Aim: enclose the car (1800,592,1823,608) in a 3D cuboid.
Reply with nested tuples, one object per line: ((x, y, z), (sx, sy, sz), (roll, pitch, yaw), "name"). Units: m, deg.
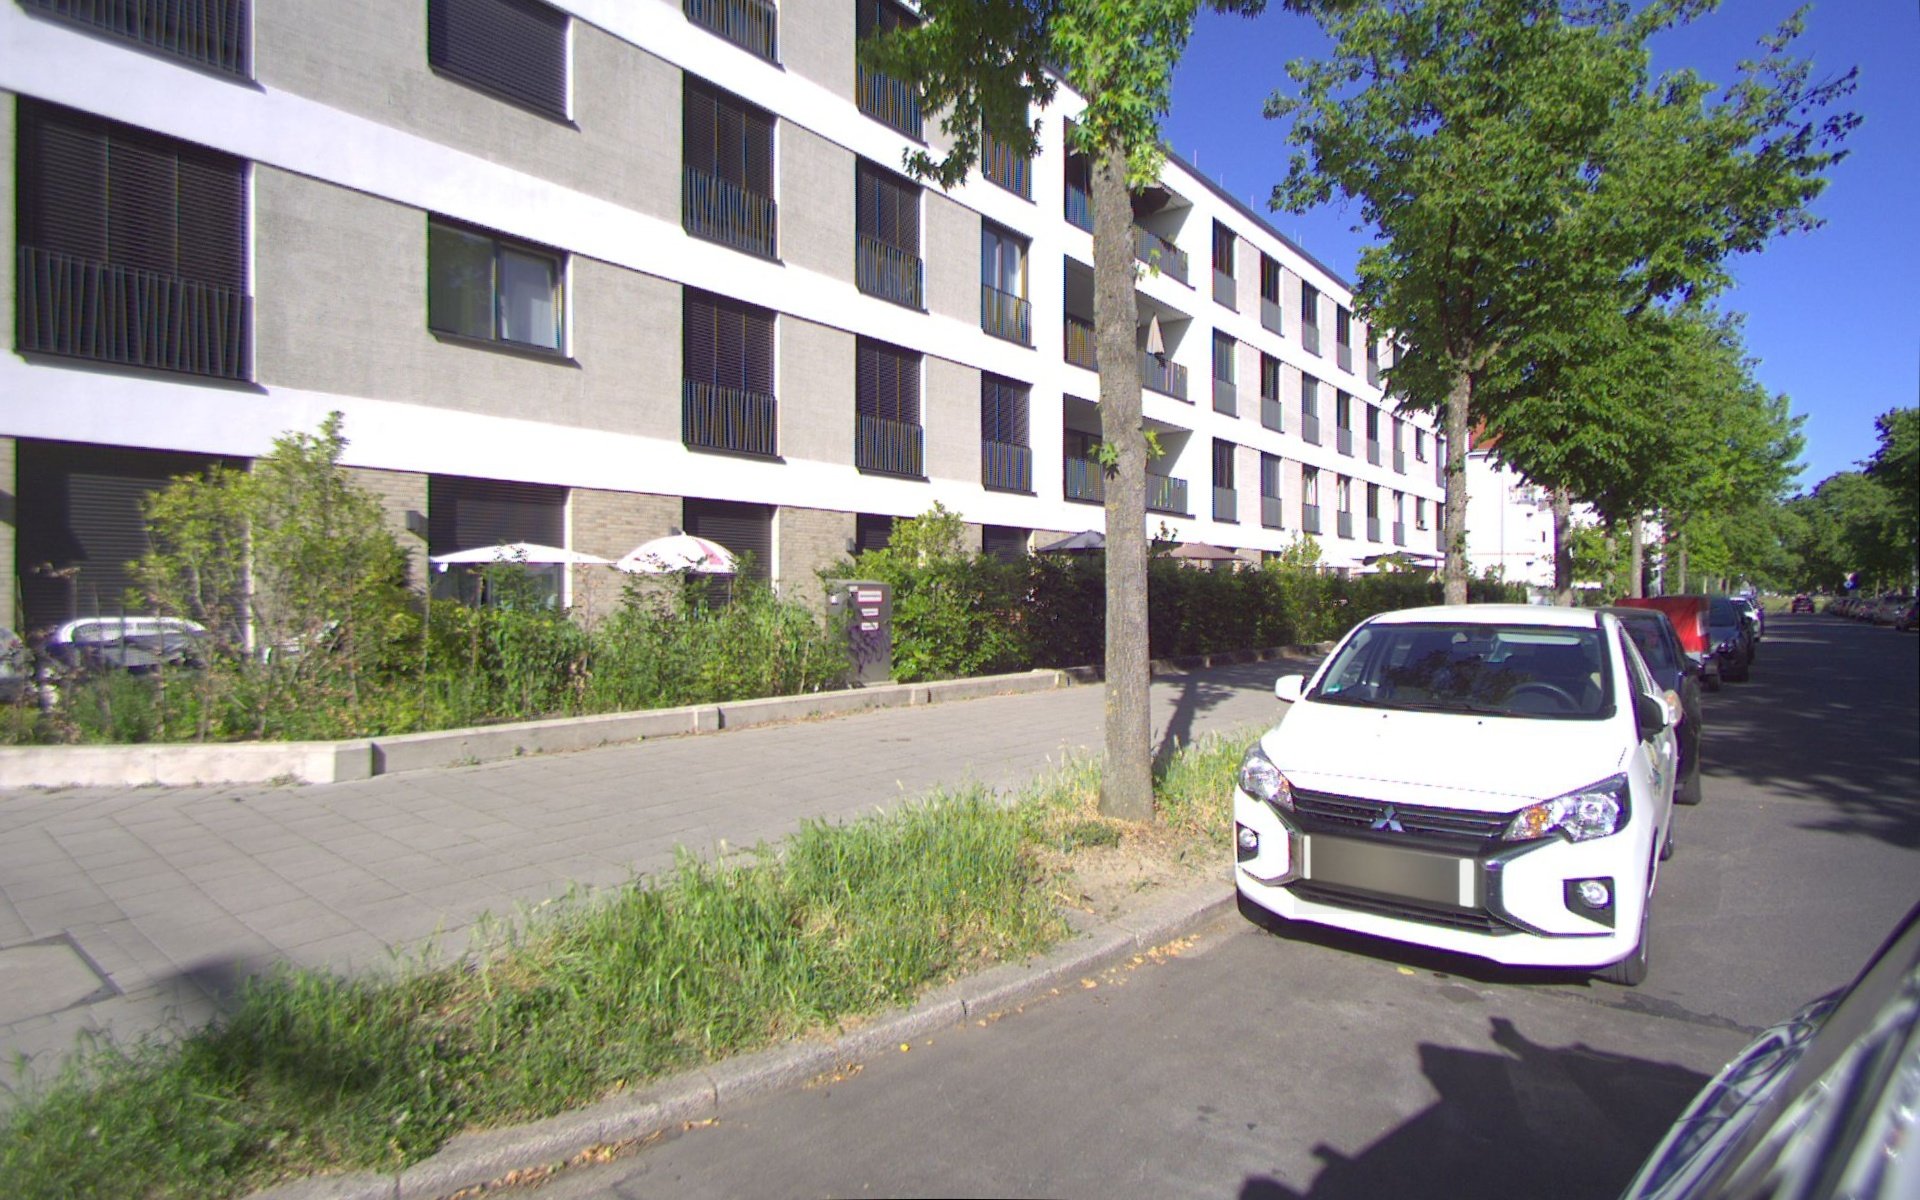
((81.603, -0.060, 96.979), (1.659, 1.483, 3.397), (1, 1, 40), "car")

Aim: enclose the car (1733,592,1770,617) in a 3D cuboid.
((48.067, 0.238, 61.448), (1.664, 1.483, 3.484), (1, 1, 40), "car")

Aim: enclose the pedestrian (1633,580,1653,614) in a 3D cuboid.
((40.834, -0.190, 60.478), (0.904, 2.039, 0.991), (1, 1, 40), "pedestrian")

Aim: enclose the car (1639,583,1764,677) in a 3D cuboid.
((15.063, 0.548, 20.463), (1.788, 1.664, 4.752), (-3, -1, 38), "car")

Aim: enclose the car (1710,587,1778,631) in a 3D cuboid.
((31.474, 0.318, 40.581), (1.895, 1.668, 4.789), (-1, 0, 41), "car")

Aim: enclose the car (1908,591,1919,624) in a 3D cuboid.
((45.006, 0.377, 46.494), (1.773, 1.489, 4.006), (3, 2, 39), "car")

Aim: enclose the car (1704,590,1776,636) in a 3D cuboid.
((27.797, 0.417, 36.164), (1.775, 1.537, 4.628), (-1, 0, 35), "car")

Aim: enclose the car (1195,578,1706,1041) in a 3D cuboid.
((2.884, 0.671, 5.409), (1.728, 1.506, 3.956), (-1, 0, 37), "car")

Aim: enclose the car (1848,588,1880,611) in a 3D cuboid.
((74.058, -0.080, 82.946), (1.705, 1.784, 3.662), (0, 1, 38), "car")

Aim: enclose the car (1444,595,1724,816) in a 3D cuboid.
((5.671, 0.722, 8.952), (1.666, 1.469, 4.122), (-3, -1, 37), "car")

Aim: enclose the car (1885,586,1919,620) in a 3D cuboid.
((52.166, 0.150, 55.505), (1.857, 1.749, 3.942), (2, 2, 40), "car")

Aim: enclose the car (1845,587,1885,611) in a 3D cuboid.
((70.881, -0.104, 79.299), (1.880, 1.830, 3.866), (0, 0, 35), "car")

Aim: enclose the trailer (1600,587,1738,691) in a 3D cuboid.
((12.094, 0.613, 17.199), (1.572, 1.599, 3.145), (-3, -2, 41), "trailer")

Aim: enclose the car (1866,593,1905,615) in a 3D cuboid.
((60.529, 0.241, 66.237), (1.599, 1.408, 3.759), (0, 0, 39), "car")

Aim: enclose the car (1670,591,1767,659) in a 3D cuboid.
((18.924, 0.553, 25.170), (1.715, 1.536, 4.282), (-1, 0, 40), "car")

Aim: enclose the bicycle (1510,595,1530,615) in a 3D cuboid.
((26.106, 0.236, 47.179), (0.562, 0.906, 1.586), (0, 0, 39), "bicycle")

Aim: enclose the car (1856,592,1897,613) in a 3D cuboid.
((67.798, 0.133, 74.885), (1.795, 1.498, 3.948), (0, 0, 36), "car")
